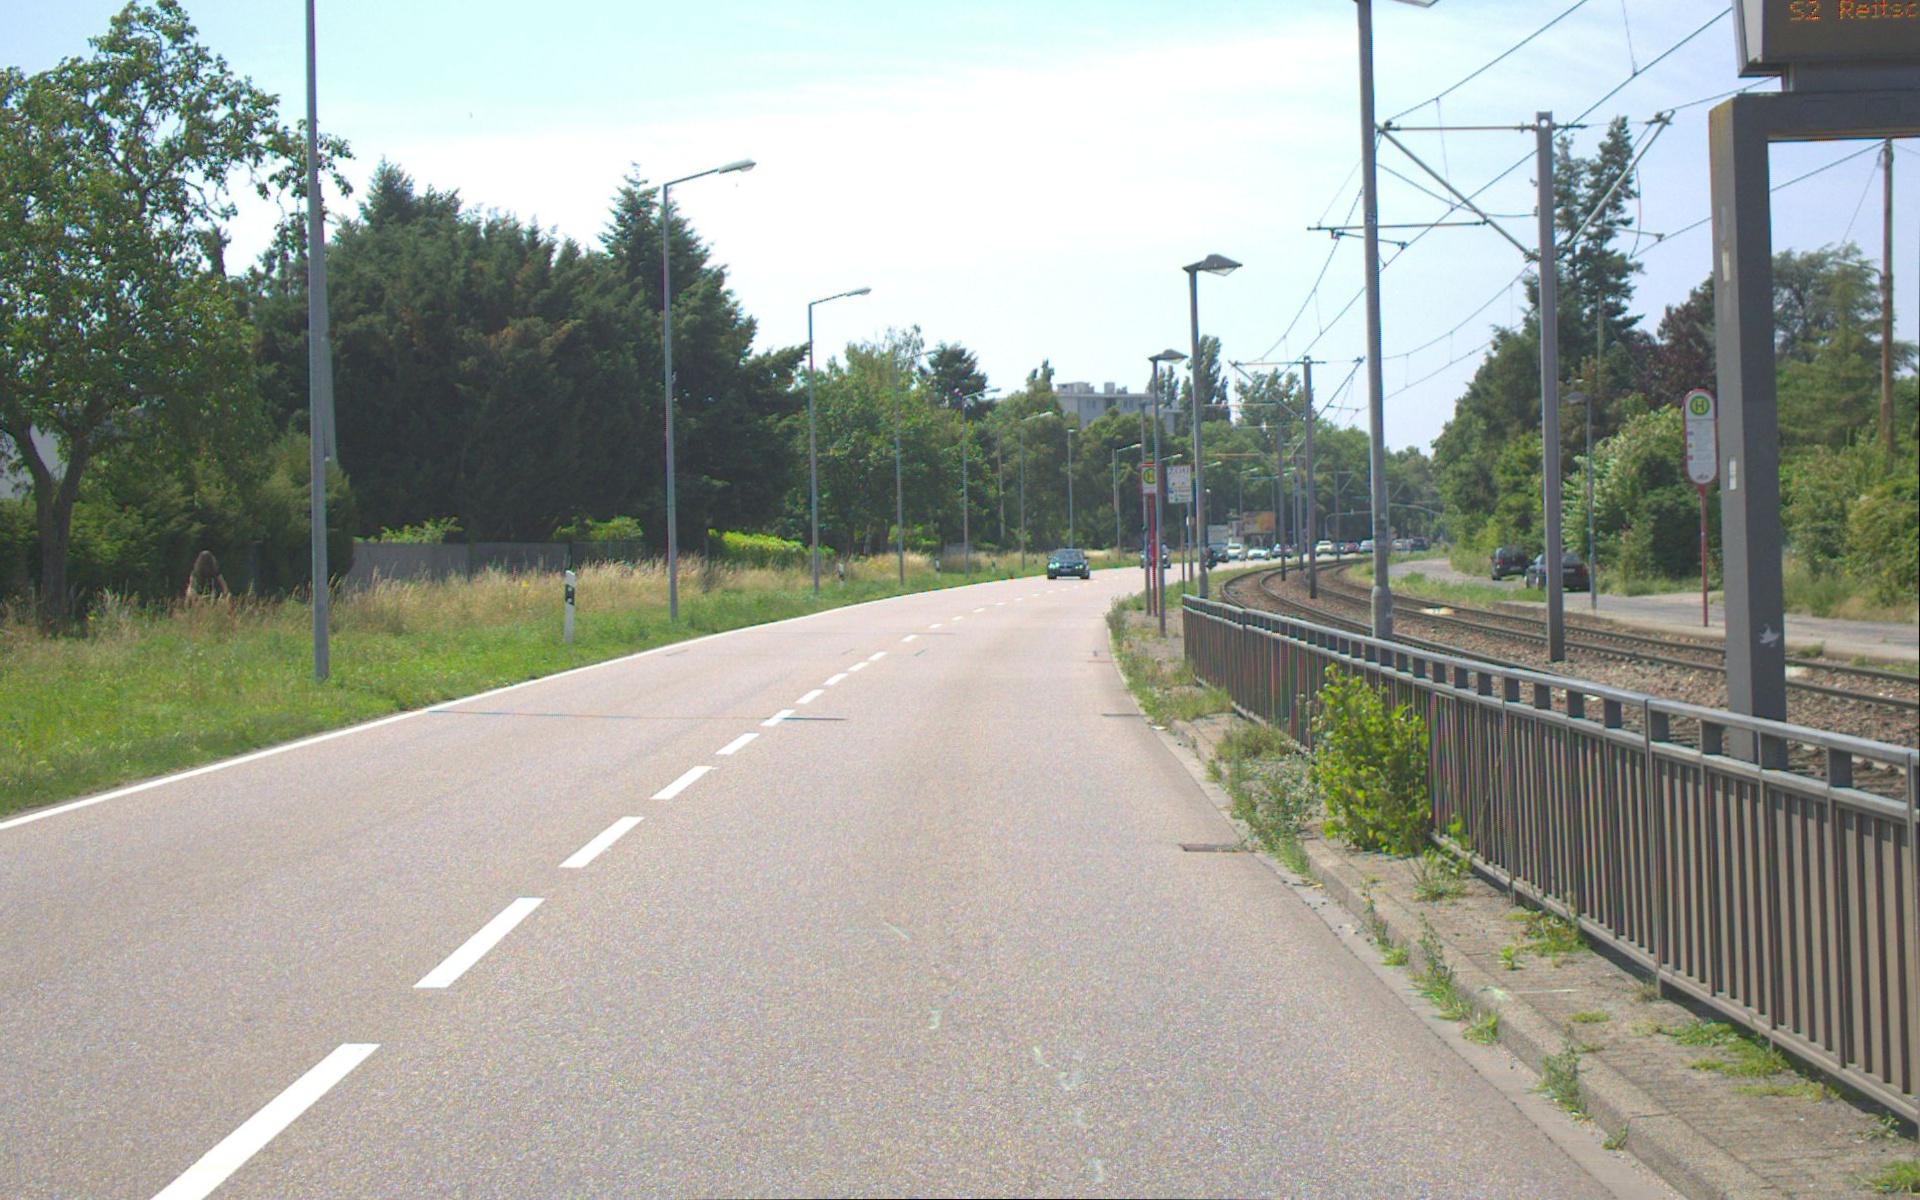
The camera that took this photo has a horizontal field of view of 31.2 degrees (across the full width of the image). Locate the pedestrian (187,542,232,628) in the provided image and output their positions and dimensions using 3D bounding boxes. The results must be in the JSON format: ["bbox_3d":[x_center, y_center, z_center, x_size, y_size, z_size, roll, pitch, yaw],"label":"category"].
[{"bbox_3d":[-12.878,-0.266,58.996,0.609,1.472,0.633,0,1,3],"label":"pedestrian"}]

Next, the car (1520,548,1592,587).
[{"bbox_3d":[20.471,-1.116,118.210,1.861,1.325,4.515,0,1,3],"label":"car"}]

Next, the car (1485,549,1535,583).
[{"bbox_3d":[24.124,-1.512,150.916,1.914,1.465,3.999,0,1,5],"label":"car"}]

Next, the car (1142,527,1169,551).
[{"bbox_3d":[13.244,-4.119,233.182,1.747,1.626,4.029,0,1,4],"label":"car"}]

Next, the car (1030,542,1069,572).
[{"bbox_3d":[4.309,-2.065,165.177,1.706,1.400,4.707,0,1,4],"label":"car"}]
